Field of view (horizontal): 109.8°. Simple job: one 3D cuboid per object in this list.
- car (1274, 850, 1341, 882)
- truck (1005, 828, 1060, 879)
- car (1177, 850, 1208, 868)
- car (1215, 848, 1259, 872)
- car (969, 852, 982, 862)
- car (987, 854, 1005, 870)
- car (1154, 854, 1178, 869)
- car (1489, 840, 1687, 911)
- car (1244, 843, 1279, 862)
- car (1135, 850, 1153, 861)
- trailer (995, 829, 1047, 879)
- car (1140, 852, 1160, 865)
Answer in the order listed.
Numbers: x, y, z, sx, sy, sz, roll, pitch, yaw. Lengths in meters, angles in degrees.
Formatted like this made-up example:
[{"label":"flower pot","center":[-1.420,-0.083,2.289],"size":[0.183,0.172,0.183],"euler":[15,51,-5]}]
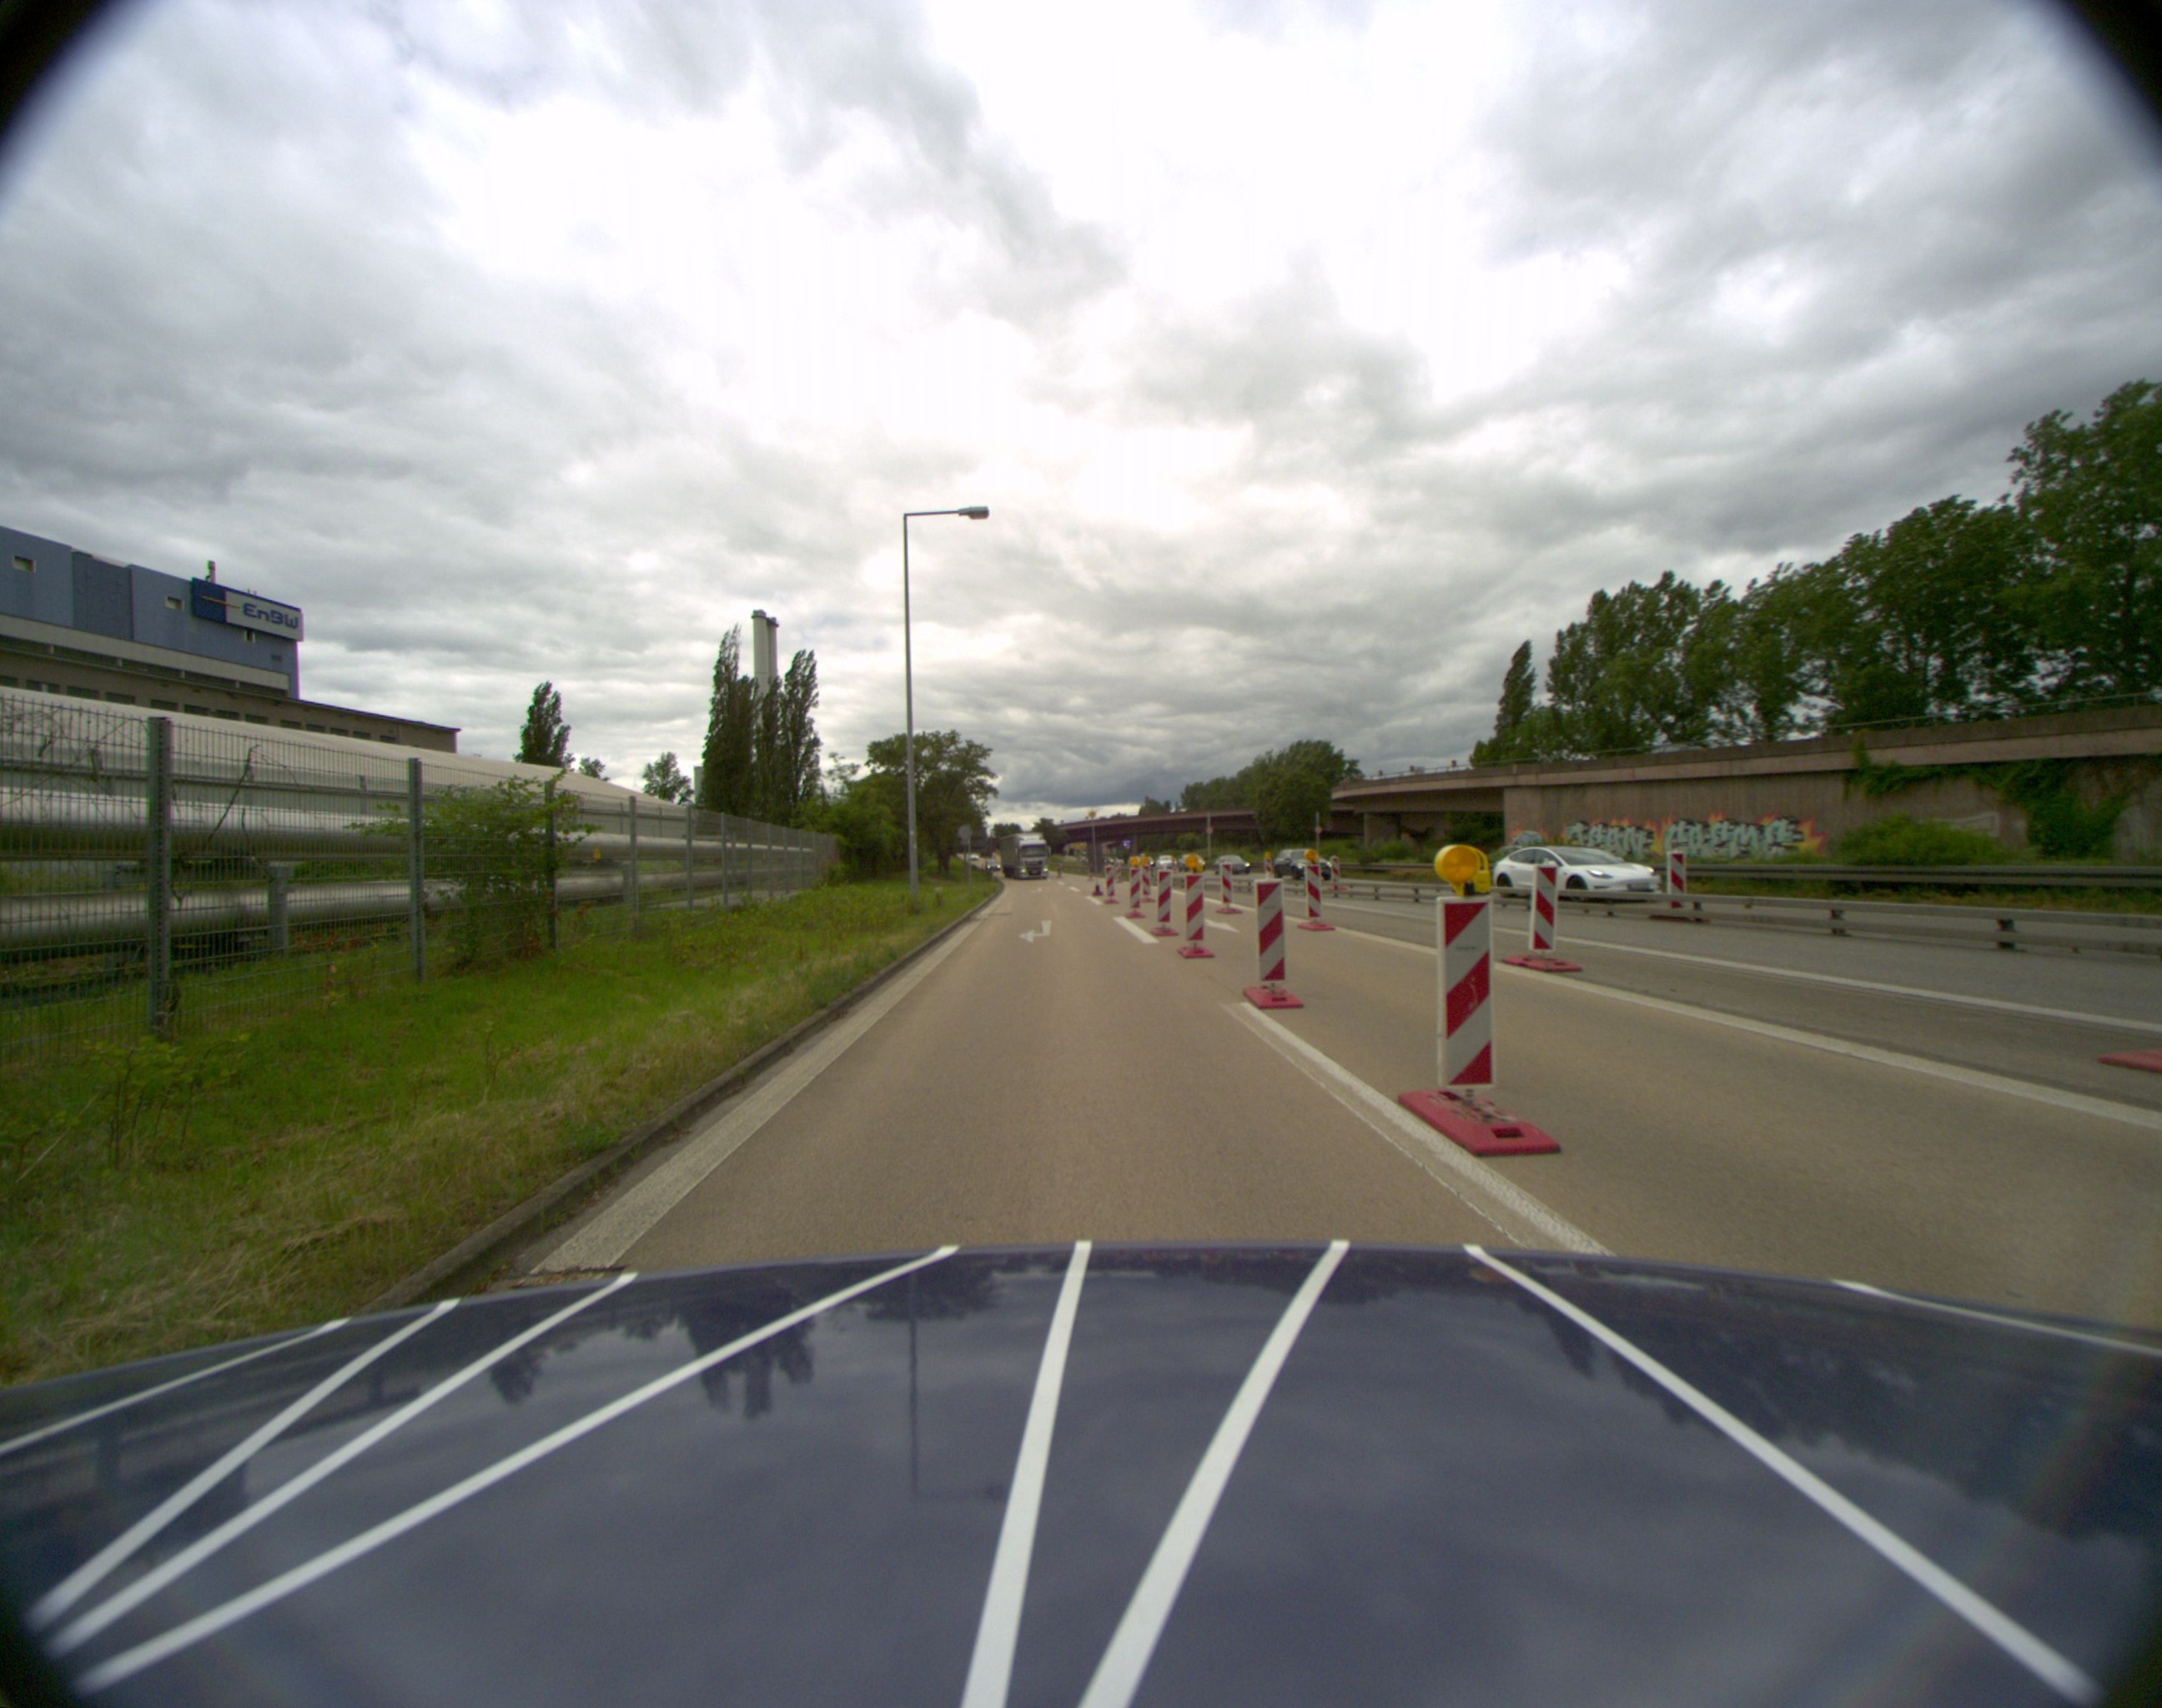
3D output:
[{"label":"car","center":[11.875,0.585,40.101],"size":[1.980,1.502,4.290],"euler":[-3,1,-3]},{"label":"truck","center":[-4.428,0.003,67.480],"size":[3.166,4.106,8.131],"euler":[-4,0,-14]},{"label":"car","center":[10.011,0.430,68.485],"size":[1.803,1.503,3.997],"euler":[-1,1,-6]},{"label":"car","center":[11.345,0.417,55.460],"size":[1.937,1.693,3.997],"euler":[-1,0,-7]},{"label":"car","center":[-19.482,0.563,140.459],"size":[1.993,1.851,3.936],"euler":[-1,0,-13]},{"label":"car","center":[-11.200,1.037,99.587],"size":[2.000,2.002,3.996],"euler":[-1,0,-12]},{"label":"car","center":[9.317,0.774,83.583],"size":[1.999,1.585,3.999],"euler":[-1,0,-2]},{"label":"car","center":[12.928,0.483,19.795],"size":[1.999,1.533,4.458],"euler":[-3,0,-2]},{"label":"car","center":[16.215,-0.160,68.576],"size":[1.859,1.631,4.290],"euler":[-2,0,-4]},{"label":"car","center":[9.029,0.204,108.634],"size":[1.999,1.585,4.291],"euler":[-1,0,-2]},{"label":"trailer","center":[-6.137,0.048,74.931],"size":[3.167,4.298,13.250],"euler":[-3,0,-12]},{"label":"car","center":[8.706,0.559,96.028],"size":[1.999,1.585,4.291],"euler":[-1,0,-2]}]
